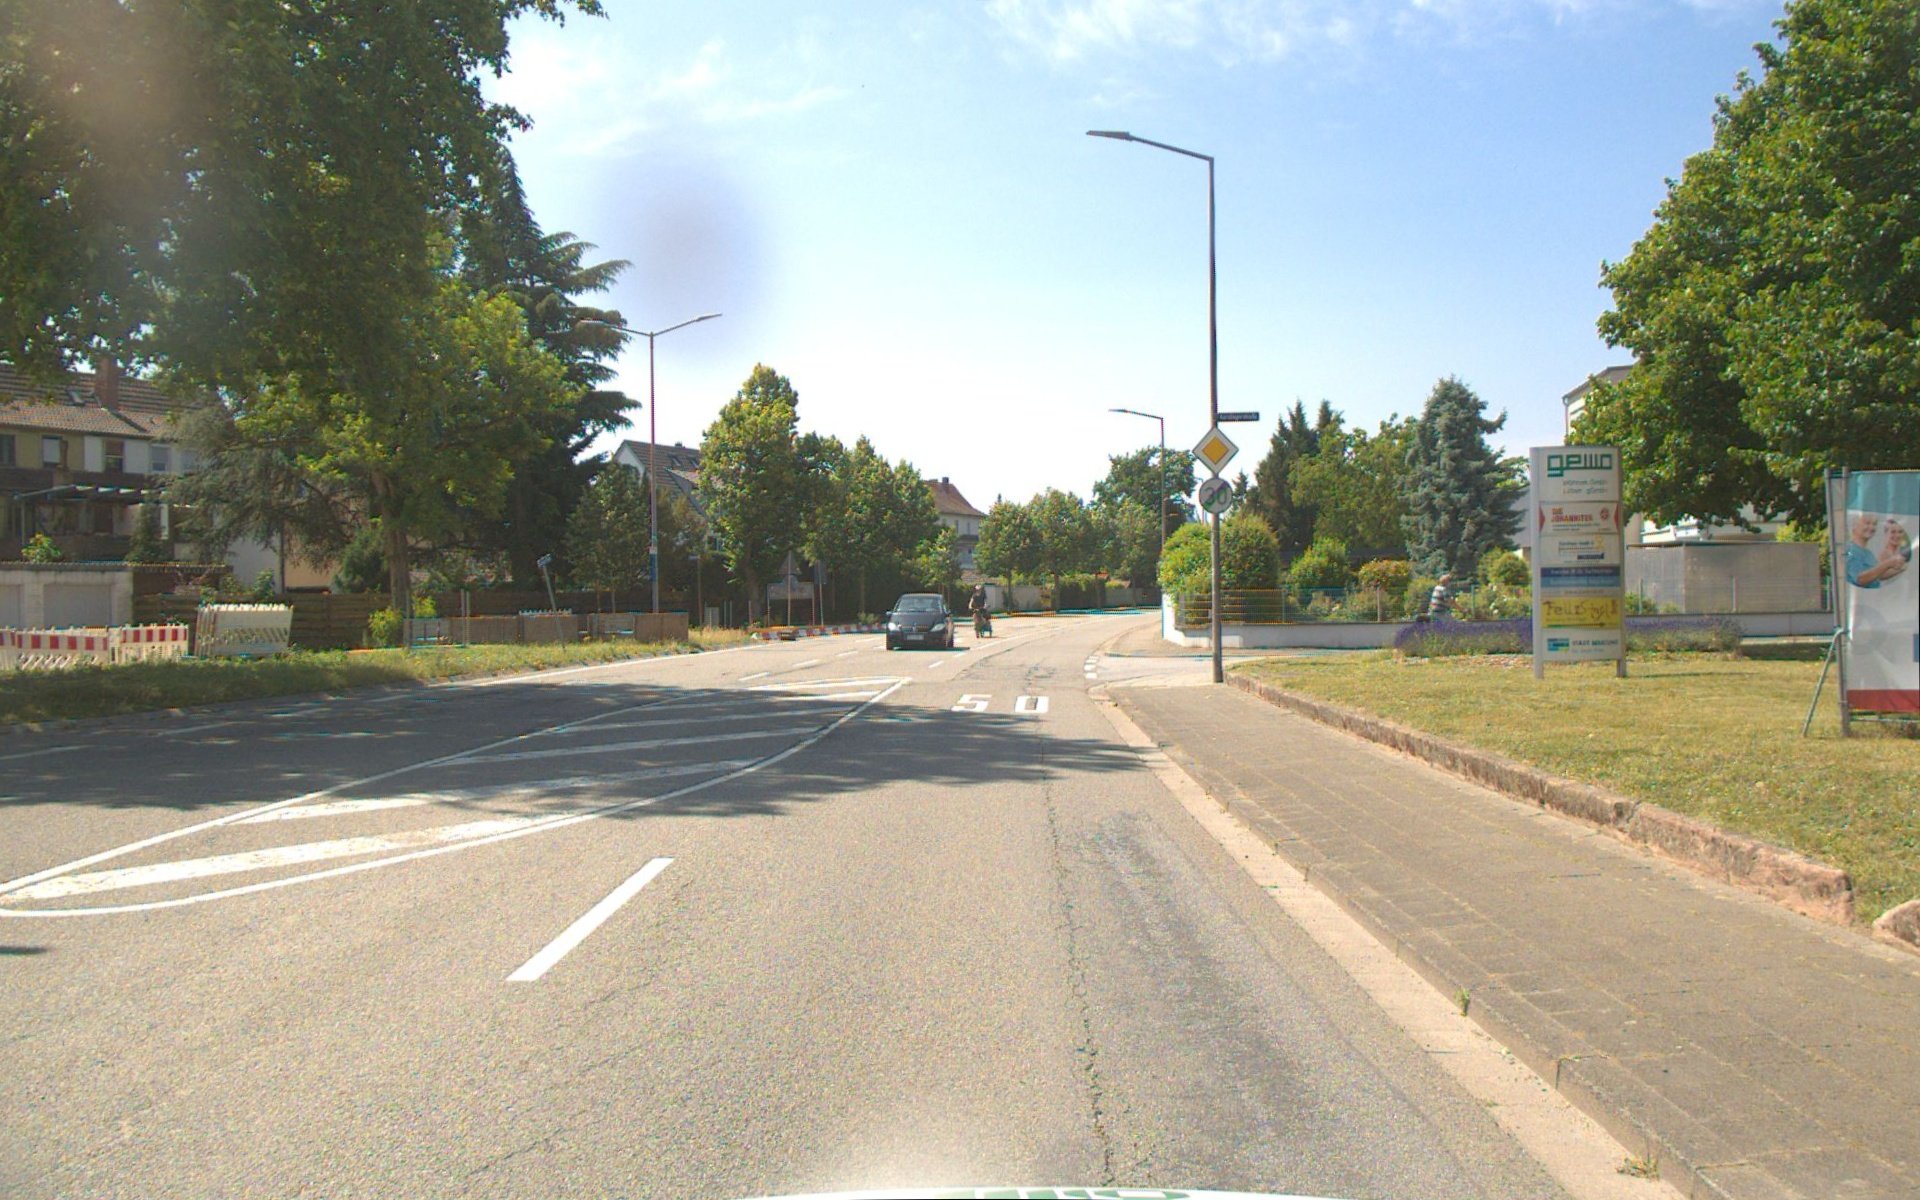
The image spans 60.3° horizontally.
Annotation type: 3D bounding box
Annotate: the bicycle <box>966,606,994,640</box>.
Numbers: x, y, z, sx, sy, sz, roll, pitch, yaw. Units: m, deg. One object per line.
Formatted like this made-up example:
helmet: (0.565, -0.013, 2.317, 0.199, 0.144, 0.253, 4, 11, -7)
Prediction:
bicycle: (0.727, 0.825, 59.903, 0.832, 1.186, 1.978, 0, 0, 6)

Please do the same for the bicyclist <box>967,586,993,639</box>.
bicyclist: (0.724, 0.467, 59.907, 0.828, 1.898, 0.977, 0, 0, 6)

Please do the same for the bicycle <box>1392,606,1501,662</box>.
bicycle: (10.327, 0.726, 35.190, 2.094, 1.122, 0.817, -2, 0, 7)

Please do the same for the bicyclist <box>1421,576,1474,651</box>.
bicyclist: (10.362, 0.291, 35.183, 0.906, 1.557, 0.857, -2, 0, 8)

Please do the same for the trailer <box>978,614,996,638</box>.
trailer: (0.997, 0.971, 61.454, 0.558, 0.871, 1.133, -1, 0, 6)

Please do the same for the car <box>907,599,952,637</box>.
car: (-1.248, 0.739, 69.007, 1.663, 1.536, 3.460, 1, 0, 2)

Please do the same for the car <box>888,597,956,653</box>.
car: (-1.074, 0.692, 48.277, 1.689, 1.559, 3.831, 1, 0, 3)
